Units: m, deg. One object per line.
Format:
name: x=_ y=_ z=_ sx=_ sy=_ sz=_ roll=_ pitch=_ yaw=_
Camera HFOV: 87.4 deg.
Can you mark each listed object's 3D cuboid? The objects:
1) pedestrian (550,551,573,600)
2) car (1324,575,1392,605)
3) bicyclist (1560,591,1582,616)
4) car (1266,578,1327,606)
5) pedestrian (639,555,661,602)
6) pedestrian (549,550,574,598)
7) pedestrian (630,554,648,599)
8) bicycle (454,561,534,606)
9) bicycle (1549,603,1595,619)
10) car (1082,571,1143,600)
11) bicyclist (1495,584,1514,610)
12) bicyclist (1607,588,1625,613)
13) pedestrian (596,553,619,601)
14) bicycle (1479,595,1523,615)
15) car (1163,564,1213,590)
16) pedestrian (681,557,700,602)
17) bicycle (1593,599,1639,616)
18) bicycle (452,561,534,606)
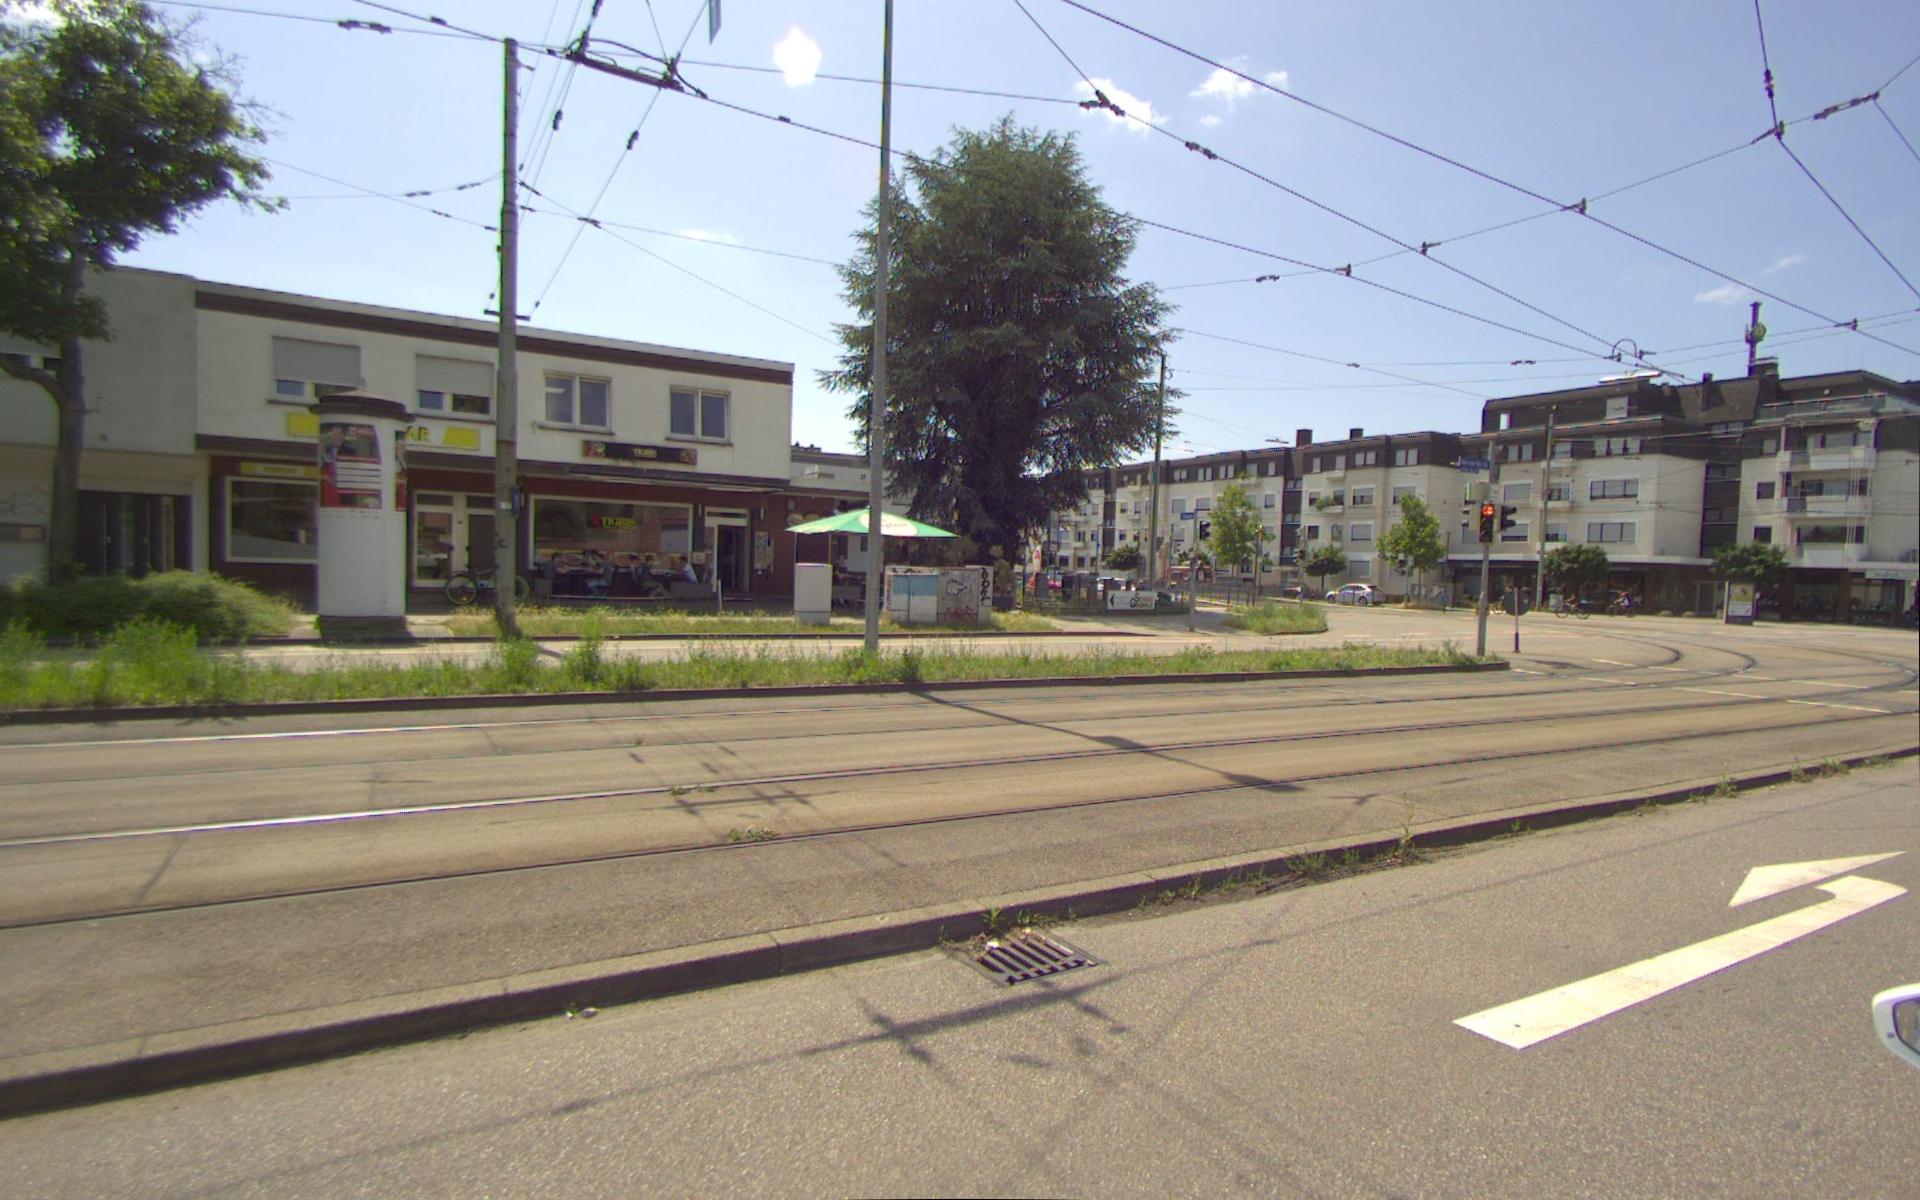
pedestrian: x=-10.608 y=-0.653 z=26.727 sx=0.526 sy=1.285 sz=0.351 roll=1 pitch=2 yaw=-30
car: x=27.684 y=-0.683 z=69.913 sx=1.977 sy=1.938 sz=3.965 roll=1 pitch=2 yaw=-31
bicyclist: x=35.361 y=0.210 z=58.127 sx=0.950 sy=1.441 sz=0.628 roll=2 pitch=0 yaw=40
car: x=25.305 y=-0.624 z=75.607 sx=1.978 sy=2.040 sz=3.966 roll=2 pitch=0 yaw=-31
pedestrian: x=-8.605 y=-0.588 z=27.867 sx=0.496 sy=1.285 sz=0.317 roll=1 pitch=2 yaw=-30
pedestrian: x=-10.875 y=-0.708 z=27.427 sx=0.573 sy=1.285 sz=0.350 roll=1 pitch=2 yaw=-30
pedestrian: x=-9.120 y=-0.659 z=28.532 sx=0.396 sy=1.263 sz=0.384 roll=1 pitch=2 yaw=-30
bicycle: x=-11.522 y=-0.395 z=24.853 sx=1.779 sy=1.055 sz=0.396 roll=1 pitch=2 yaw=-29
bicycle: x=35.334 y=0.635 z=57.998 sx=2.223 sy=0.893 sz=0.416 roll=2 pitch=0 yaw=39
car: x=9.488 y=-0.898 z=62.743 sx=1.876 sy=1.747 sz=3.825 roll=2 pitch=0 yaw=-29
bicyclist: x=32.751 y=-0.173 z=60.404 sx=0.840 sy=1.507 sz=0.733 roll=2 pitch=0 yaw=40
bicyclist: x=39.483 y=0.018 z=60.470 sx=0.833 sy=1.487 sz=0.655 roll=2 pitch=0 yaw=27
pedestrian: x=-9.594 y=-0.612 z=27.333 sx=0.521 sy=1.285 sz=0.343 roll=1 pitch=2 yaw=-28
bicycle: x=32.605 y=0.281 z=60.544 sx=2.223 sy=1.115 sz=0.514 roll=2 pitch=0 yaw=40
car: x=19.182 y=-1.967 z=84.798 sx=1.975 sy=2.041 sz=3.970 roll=1 pitch=2 yaw=-28
pedestrian: x=-7.824 y=-0.593 z=29.203 sx=0.447 sy=1.285 sz=0.339 roll=1 pitch=2 yaw=-28
bicycle: x=39.487 y=0.479 z=60.497 sx=2.215 sy=0.947 sz=0.671 roll=2 pitch=0 yaw=27
bicycle: x=-11.329 y=-0.398 z=24.405 sx=1.779 sy=1.055 sz=0.396 roll=1 pitch=2 yaw=-29
